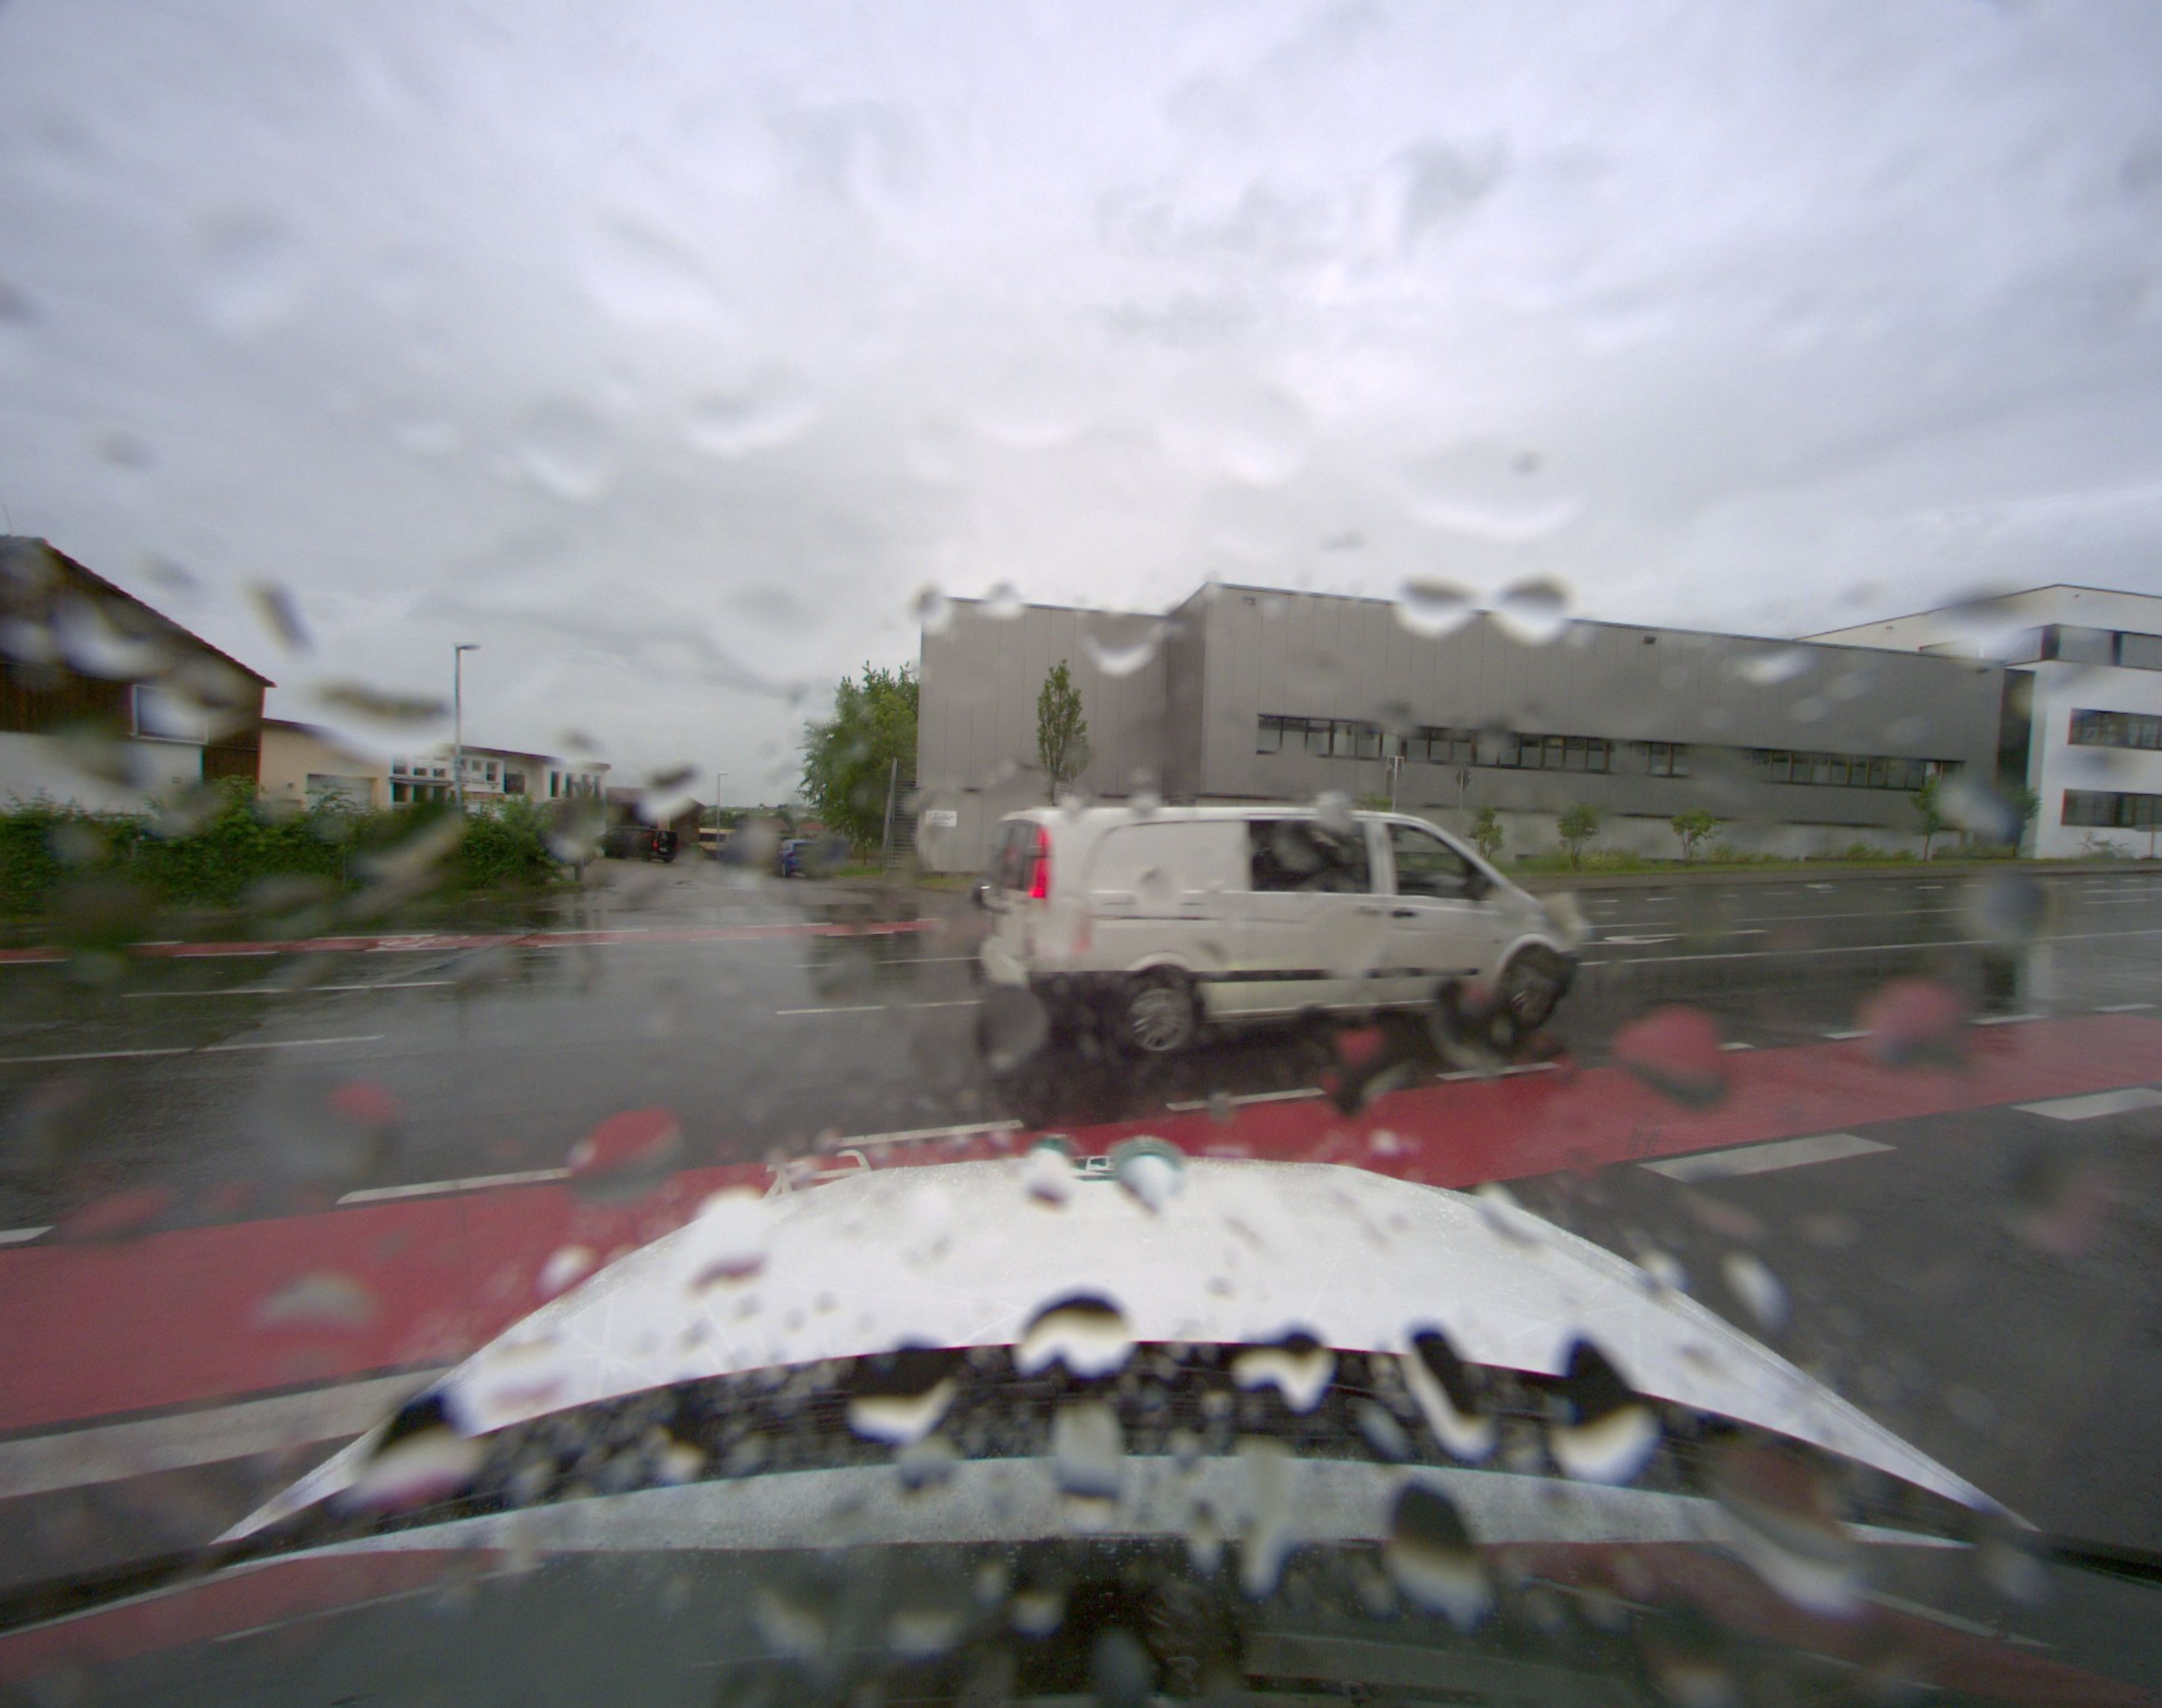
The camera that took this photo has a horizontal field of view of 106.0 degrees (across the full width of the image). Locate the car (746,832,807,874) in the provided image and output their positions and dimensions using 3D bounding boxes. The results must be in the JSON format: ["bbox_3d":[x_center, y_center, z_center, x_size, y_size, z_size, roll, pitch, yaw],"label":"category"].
[{"bbox_3d":[-14.483,-0.051,38.556,2.086,1.835,4.428,0,0,-29],"label":"car"}]

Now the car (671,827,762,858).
[{"bbox_3d":[-28.447,-0.887,63.762,5.999,2.415,2.459,0,0,-5],"label":"car"}]

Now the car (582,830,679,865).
[{"bbox_3d":[-25.293,-0.350,45.854,4.374,1.905,2.003,0,0,5],"label":"car"}]

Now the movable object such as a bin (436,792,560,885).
[{"bbox_3d":[-17.272,-0.440,24.315,1.733,2.556,3.328,0,0,-10],"label":"movable object such as a bin"}]

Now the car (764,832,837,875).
[{"bbox_3d":[-11.427,-0.035,33.025,1.964,1.610,4.403,0,0,-30],"label":"car"}]

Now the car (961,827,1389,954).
[{"bbox_3d":[1.579,0.492,13.761,6.874,1.815,2.348,0,1,-18],"label":"car"}]

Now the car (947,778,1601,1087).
[{"bbox_3d":[1.661,0.494,7.082,5.370,2.018,1.893,0,1,-19],"label":"car"}]
